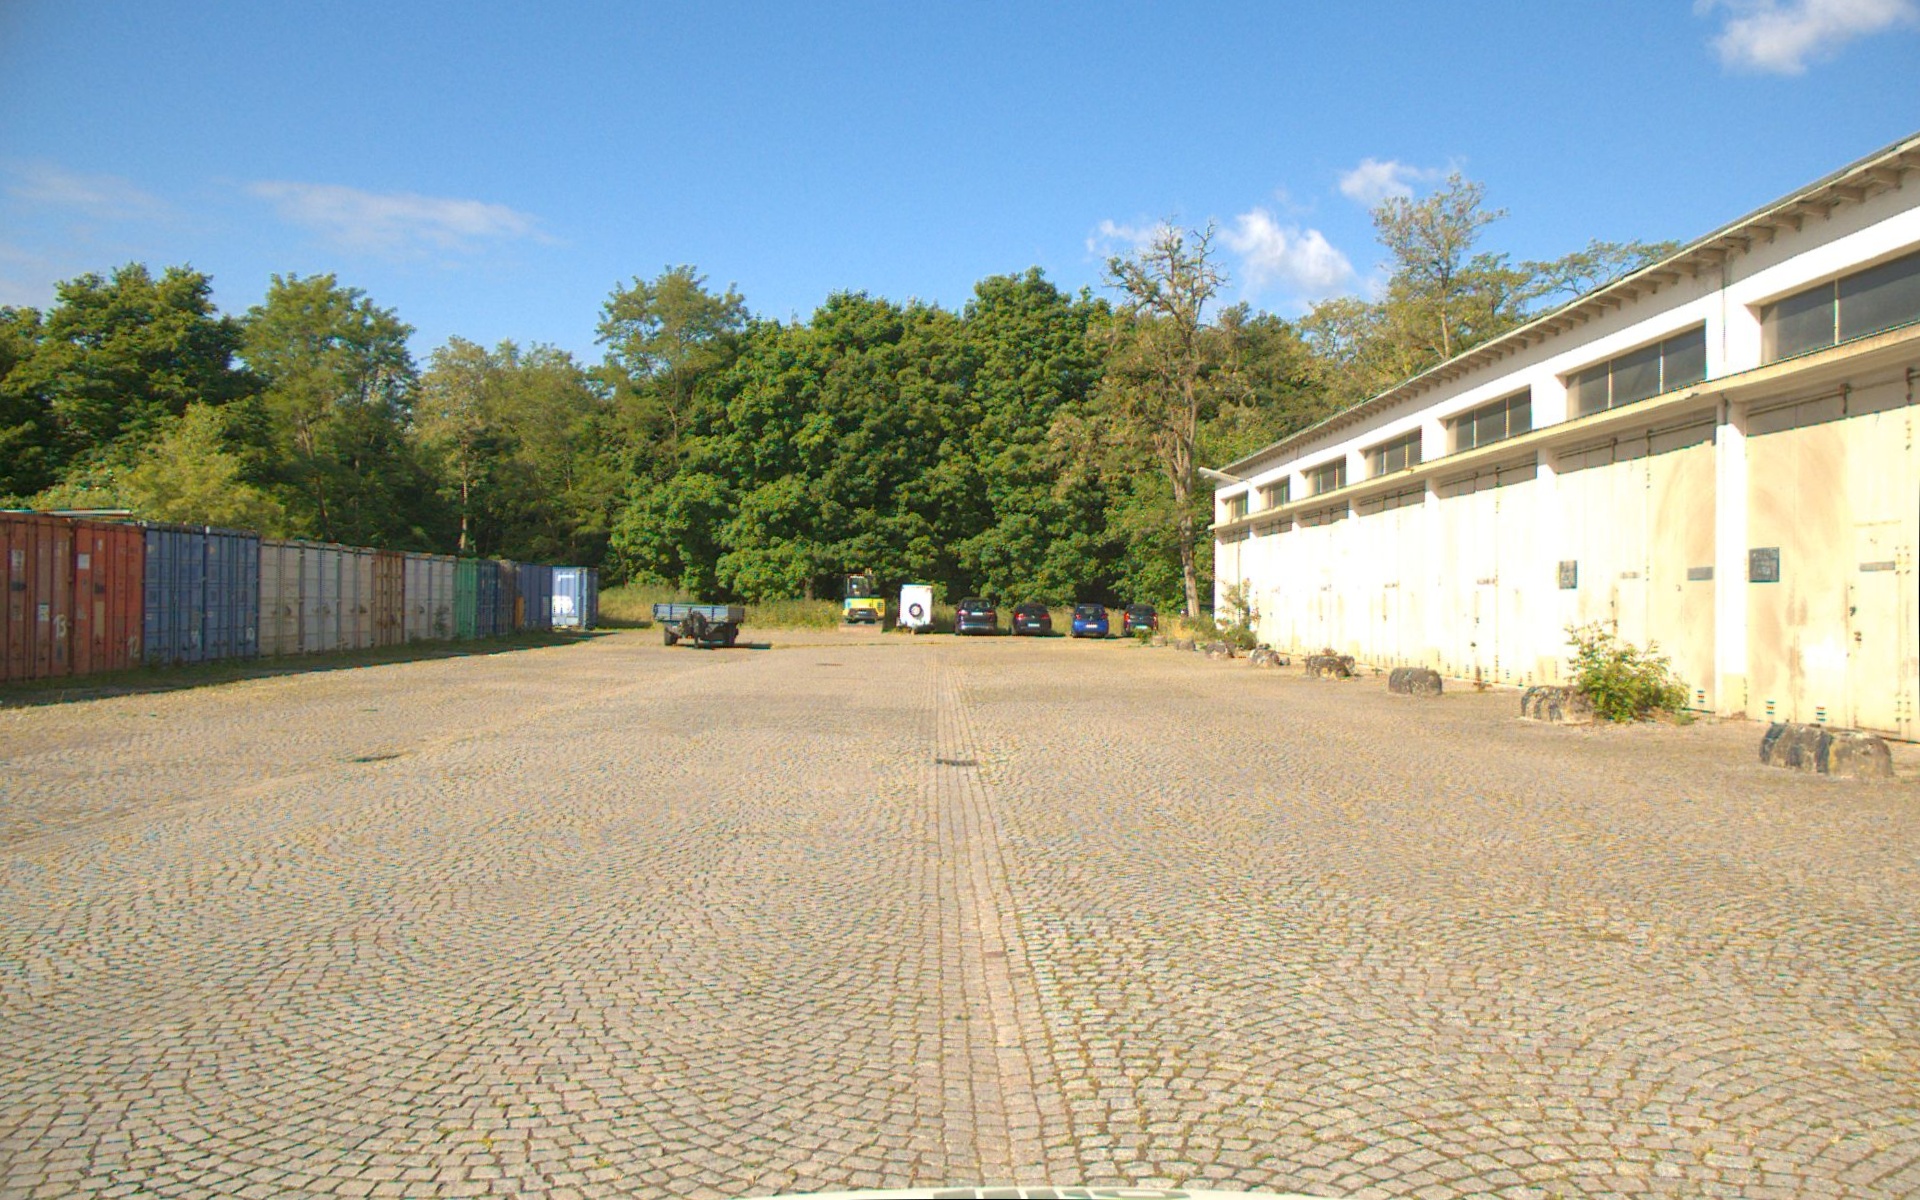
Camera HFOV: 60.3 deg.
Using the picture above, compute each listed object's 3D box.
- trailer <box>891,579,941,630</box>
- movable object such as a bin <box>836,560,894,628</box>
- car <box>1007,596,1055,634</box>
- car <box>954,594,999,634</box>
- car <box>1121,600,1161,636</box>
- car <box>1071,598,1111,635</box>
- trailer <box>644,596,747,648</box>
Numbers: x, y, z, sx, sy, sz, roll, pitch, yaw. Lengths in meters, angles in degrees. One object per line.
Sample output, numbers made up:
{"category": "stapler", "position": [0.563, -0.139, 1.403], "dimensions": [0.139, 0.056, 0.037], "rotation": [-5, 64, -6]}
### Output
{"category": "trailer", "position": [-2.000, 0.170, 75.570], "dimensions": [2.148, 2.131, 5.750], "rotation": [2, 1, -1]}
{"category": "movable object such as a bin", "position": [-4.335, -0.335, 76.116], "dimensions": [2.259, 2.947, 5.751], "rotation": [2, 1, 0]}
{"category": "car", "position": [3.117, 0.634, 73.661], "dimensions": [1.826, 1.496, 4.295], "rotation": [2, 1, -1]}
{"category": "car", "position": [0.682, 0.599, 73.245], "dimensions": [1.826, 1.617, 4.295], "rotation": [2, 1, -1]}
{"category": "car", "position": [8.208, 0.780, 75.114], "dimensions": [1.707, 1.461, 4.186], "rotation": [2, 1, 6]}
{"category": "car", "position": [5.828, 0.722, 73.656], "dimensions": [1.707, 1.461, 4.185], "rotation": [2, 1, 4]}
{"category": "trailer", "position": [-8.756, 0.686, 55.339], "dimensions": [2.651, 1.491, 6.245], "rotation": [2, 1, -2]}
